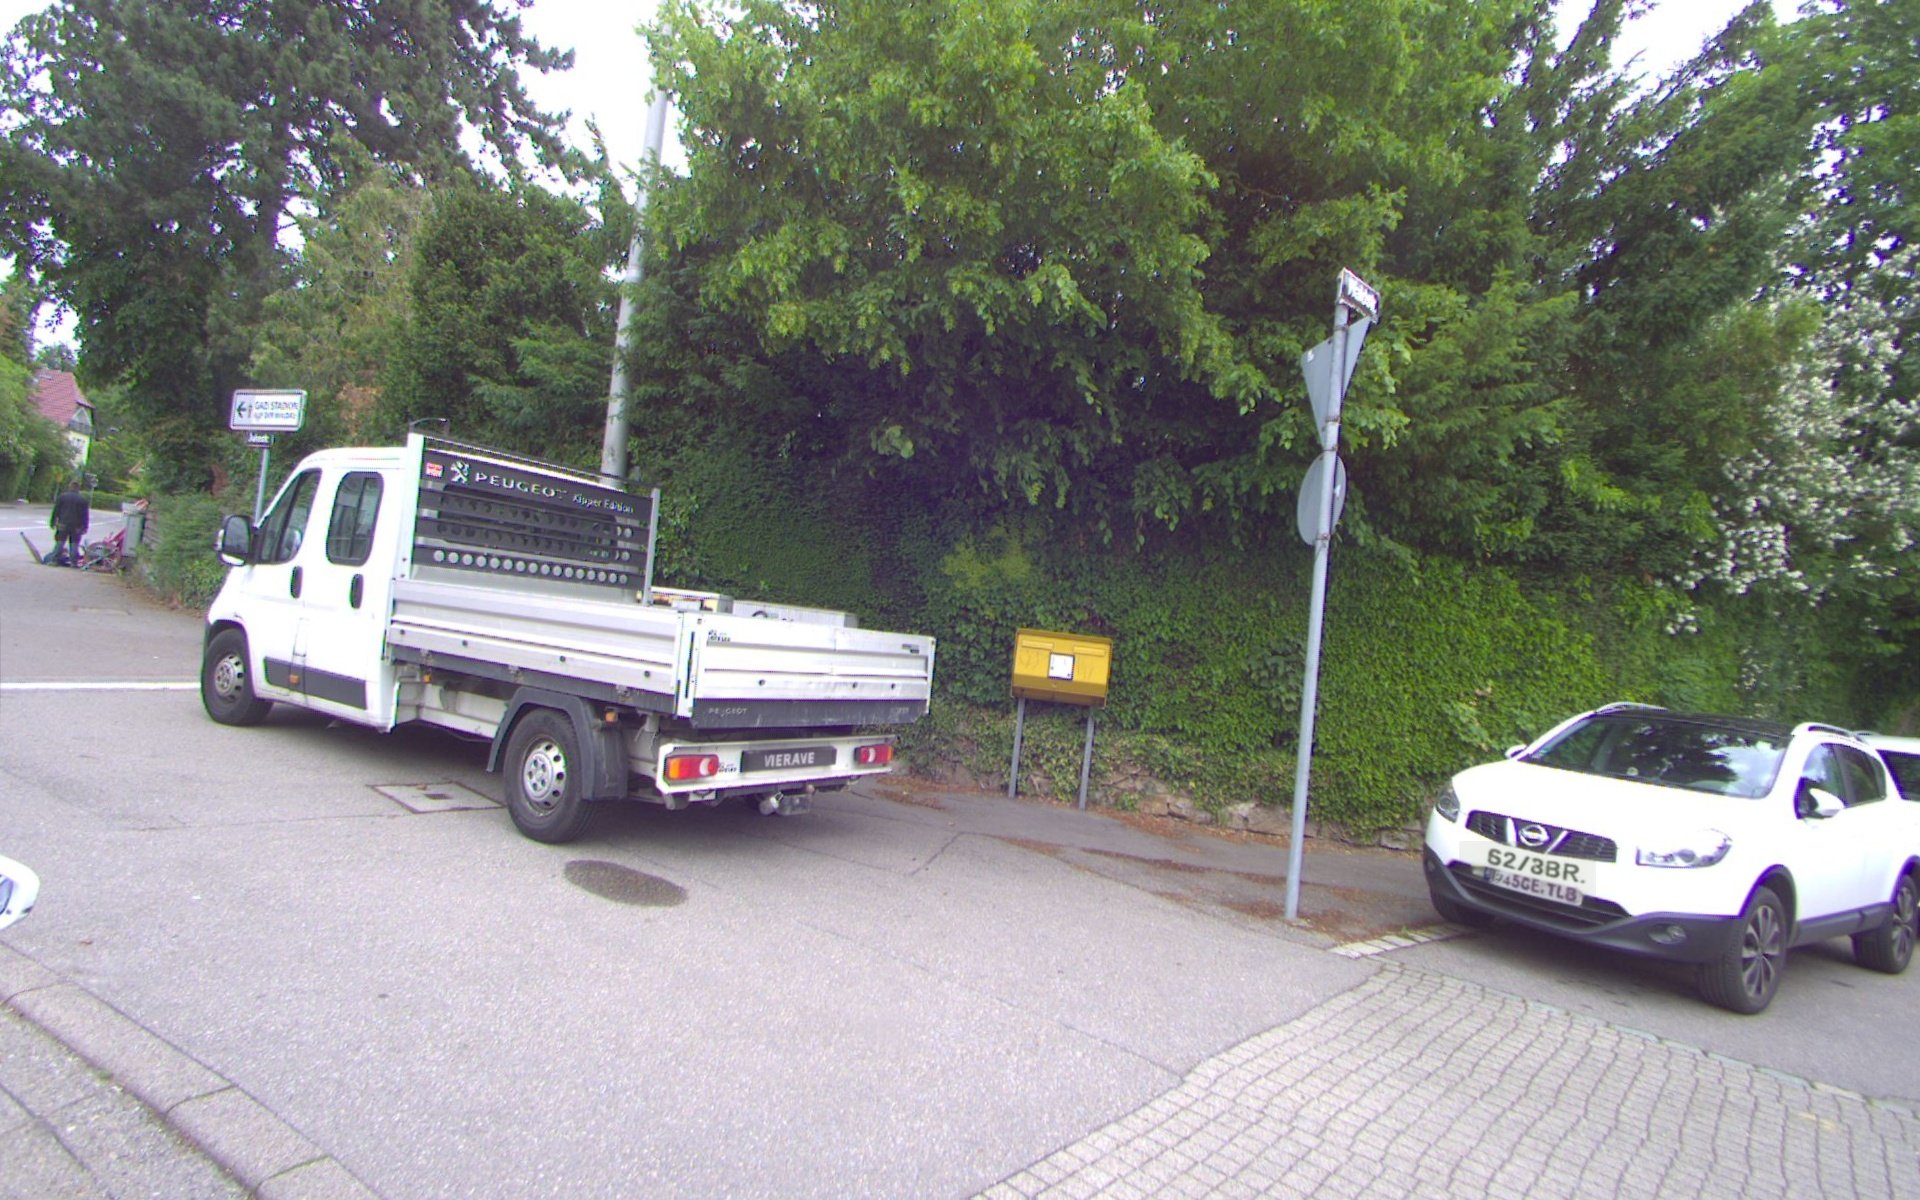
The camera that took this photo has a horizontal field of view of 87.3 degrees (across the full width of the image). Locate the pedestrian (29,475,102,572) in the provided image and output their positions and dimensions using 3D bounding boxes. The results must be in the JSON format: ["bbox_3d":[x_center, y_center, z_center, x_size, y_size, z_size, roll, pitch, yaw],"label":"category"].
[{"bbox_3d":[-19.563,-1.661,21.996,0.788,1.946,0.847,8,0,34],"label":"pedestrian"}]

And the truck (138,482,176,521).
[{"bbox_3d":[-86.138,-10.502,108.032,2.766,3.501,7.416,8,-2,-38],"label":"truck"}]

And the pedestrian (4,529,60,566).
[{"bbox_3d":[-20.592,-1.160,22.331,0.574,0.705,0.647,8,-1,13],"label":"pedestrian"}]

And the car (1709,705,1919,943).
[{"bbox_3d":[8.936,2.069,9.345,4.030,1.679,1.852,9,-2,-34],"label":"car"}]

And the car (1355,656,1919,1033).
[{"bbox_3d":[4.774,1.477,6.680,4.027,1.659,1.854,9,-2,-32],"label":"car"}]

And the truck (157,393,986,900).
[{"bbox_3d":[-3.131,0.070,7.384,6.090,2.379,2.400,6,-2,34],"label":"truck"}]
